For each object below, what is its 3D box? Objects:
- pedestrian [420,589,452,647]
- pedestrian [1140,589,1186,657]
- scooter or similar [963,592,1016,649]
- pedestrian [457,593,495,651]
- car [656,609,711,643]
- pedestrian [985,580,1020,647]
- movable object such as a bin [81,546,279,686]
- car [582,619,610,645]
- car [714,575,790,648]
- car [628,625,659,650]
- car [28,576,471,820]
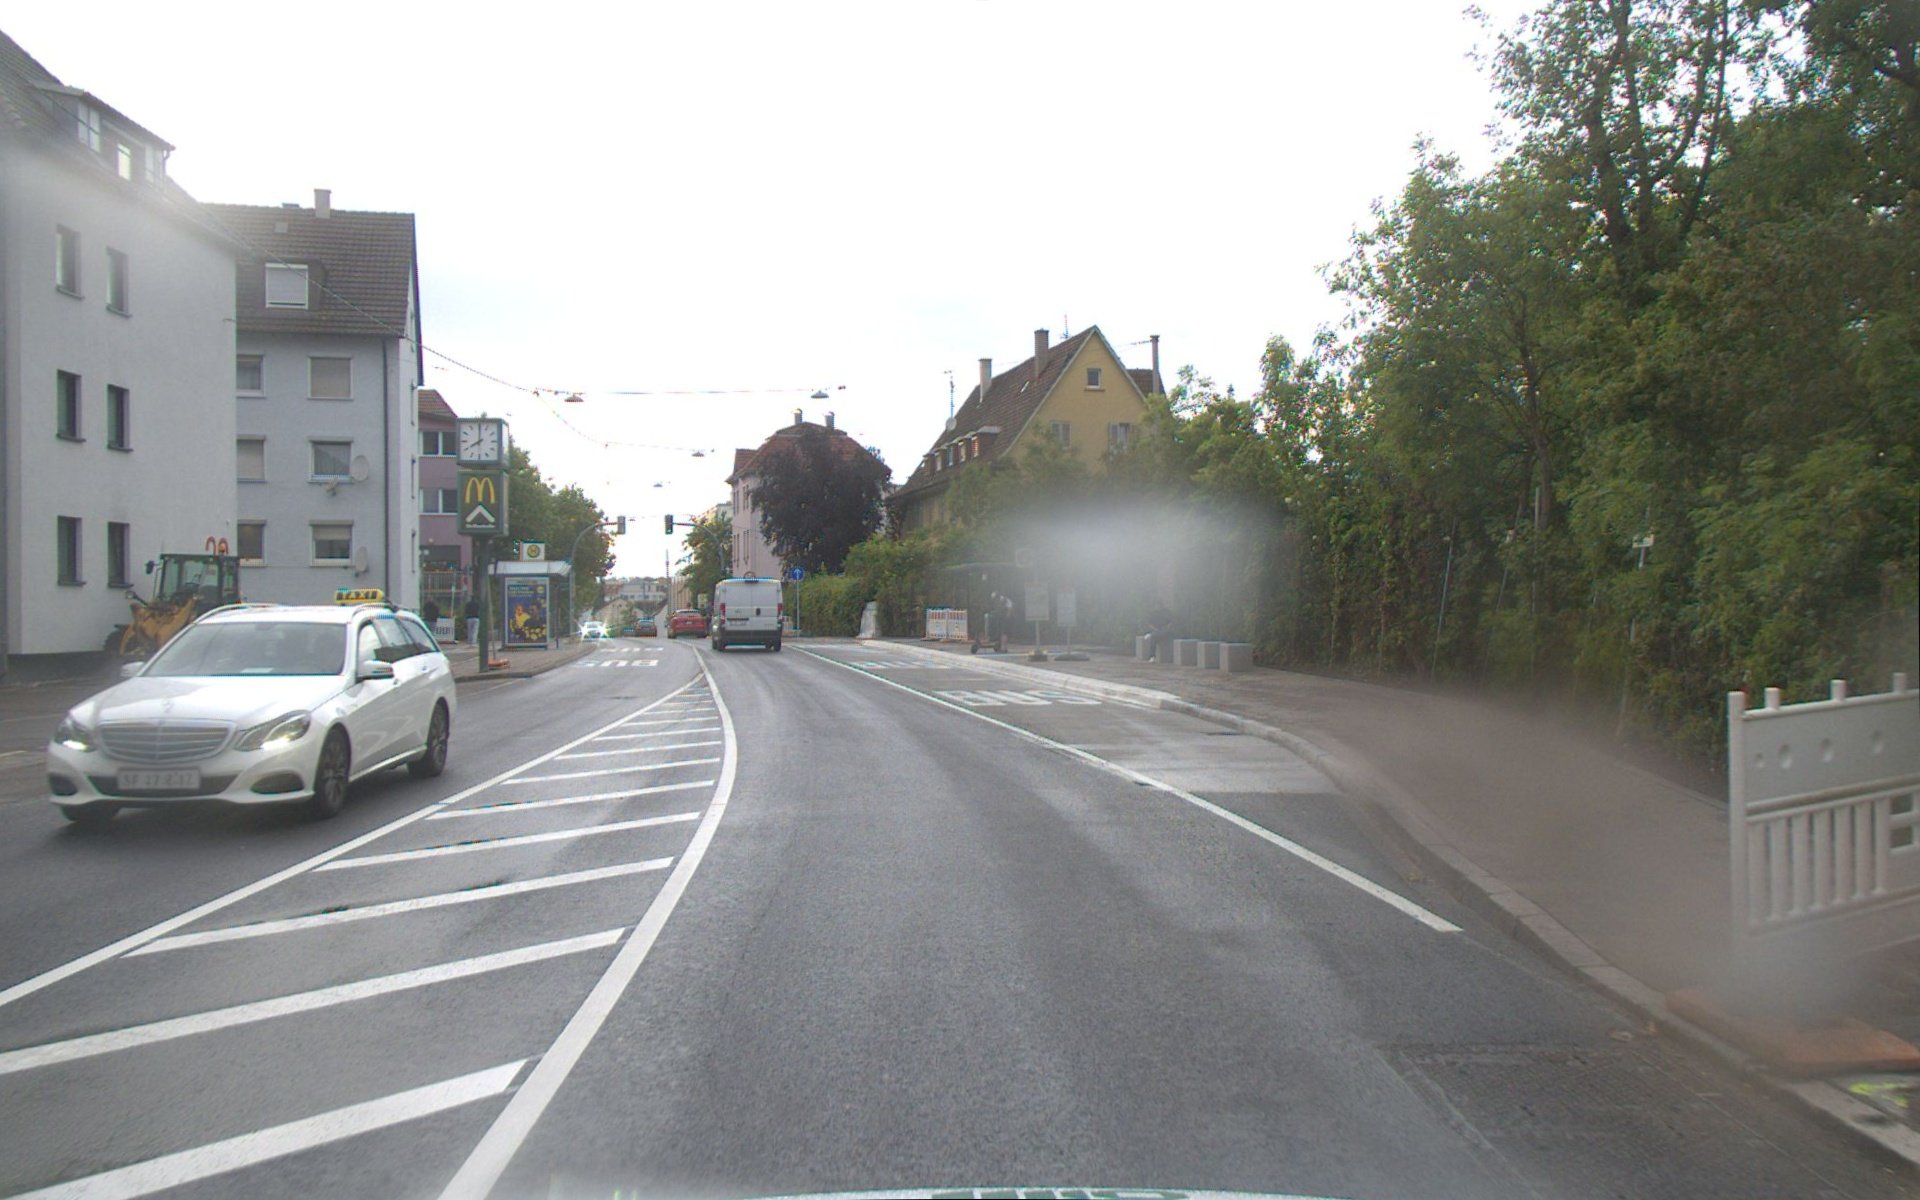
[{"bbox_3d":[-19.105,0.650,60.329,1.062,2.048,1.047,0,2,-16],"label":"pedestrian"},{"bbox_3d":[4.349,0.482,35.545,0.860,1.391,1.066,1,2,1],"label":"pedestrian"},{"bbox_3d":[0.804,0.543,44.088,0.489,1.430,1.545,2,4,44],"label":"scooter or similar"},{"bbox_3d":[-17.306,0.775,59.174,1.184,2.048,1.049,0,2,-11],"label":"pedestrian"},{"bbox_3d":[-14.095,1.299,84.200,2.202,1.686,4.691,0,0,-17],"label":"car"},{"bbox_3d":[1.137,0.359,44.191,0.887,1.761,0.654,1,1,1],"label":"pedestrian"},{"bbox_3d":[-16.231,0.247,34.714,1.952,2.729,4.629,1,2,0],"label":"movable object such as a bin"},{"bbox_3d":[-28.228,2.456,128.199,1.957,1.825,3.991,0,2,-10],"label":"car"},{"bbox_3d":[-6.826,0.354,53.837,2.197,2.252,4.701,0,0,-10],"label":"car"},{"bbox_3d":[-24.121,2.827,126.002,2.198,1.836,4.698,0,0,-12],"label":"car"},{"bbox_3d":[-5.304,0.678,13.111,1.891,1.583,4.614,1,-1,-6],"label":"car"}]
